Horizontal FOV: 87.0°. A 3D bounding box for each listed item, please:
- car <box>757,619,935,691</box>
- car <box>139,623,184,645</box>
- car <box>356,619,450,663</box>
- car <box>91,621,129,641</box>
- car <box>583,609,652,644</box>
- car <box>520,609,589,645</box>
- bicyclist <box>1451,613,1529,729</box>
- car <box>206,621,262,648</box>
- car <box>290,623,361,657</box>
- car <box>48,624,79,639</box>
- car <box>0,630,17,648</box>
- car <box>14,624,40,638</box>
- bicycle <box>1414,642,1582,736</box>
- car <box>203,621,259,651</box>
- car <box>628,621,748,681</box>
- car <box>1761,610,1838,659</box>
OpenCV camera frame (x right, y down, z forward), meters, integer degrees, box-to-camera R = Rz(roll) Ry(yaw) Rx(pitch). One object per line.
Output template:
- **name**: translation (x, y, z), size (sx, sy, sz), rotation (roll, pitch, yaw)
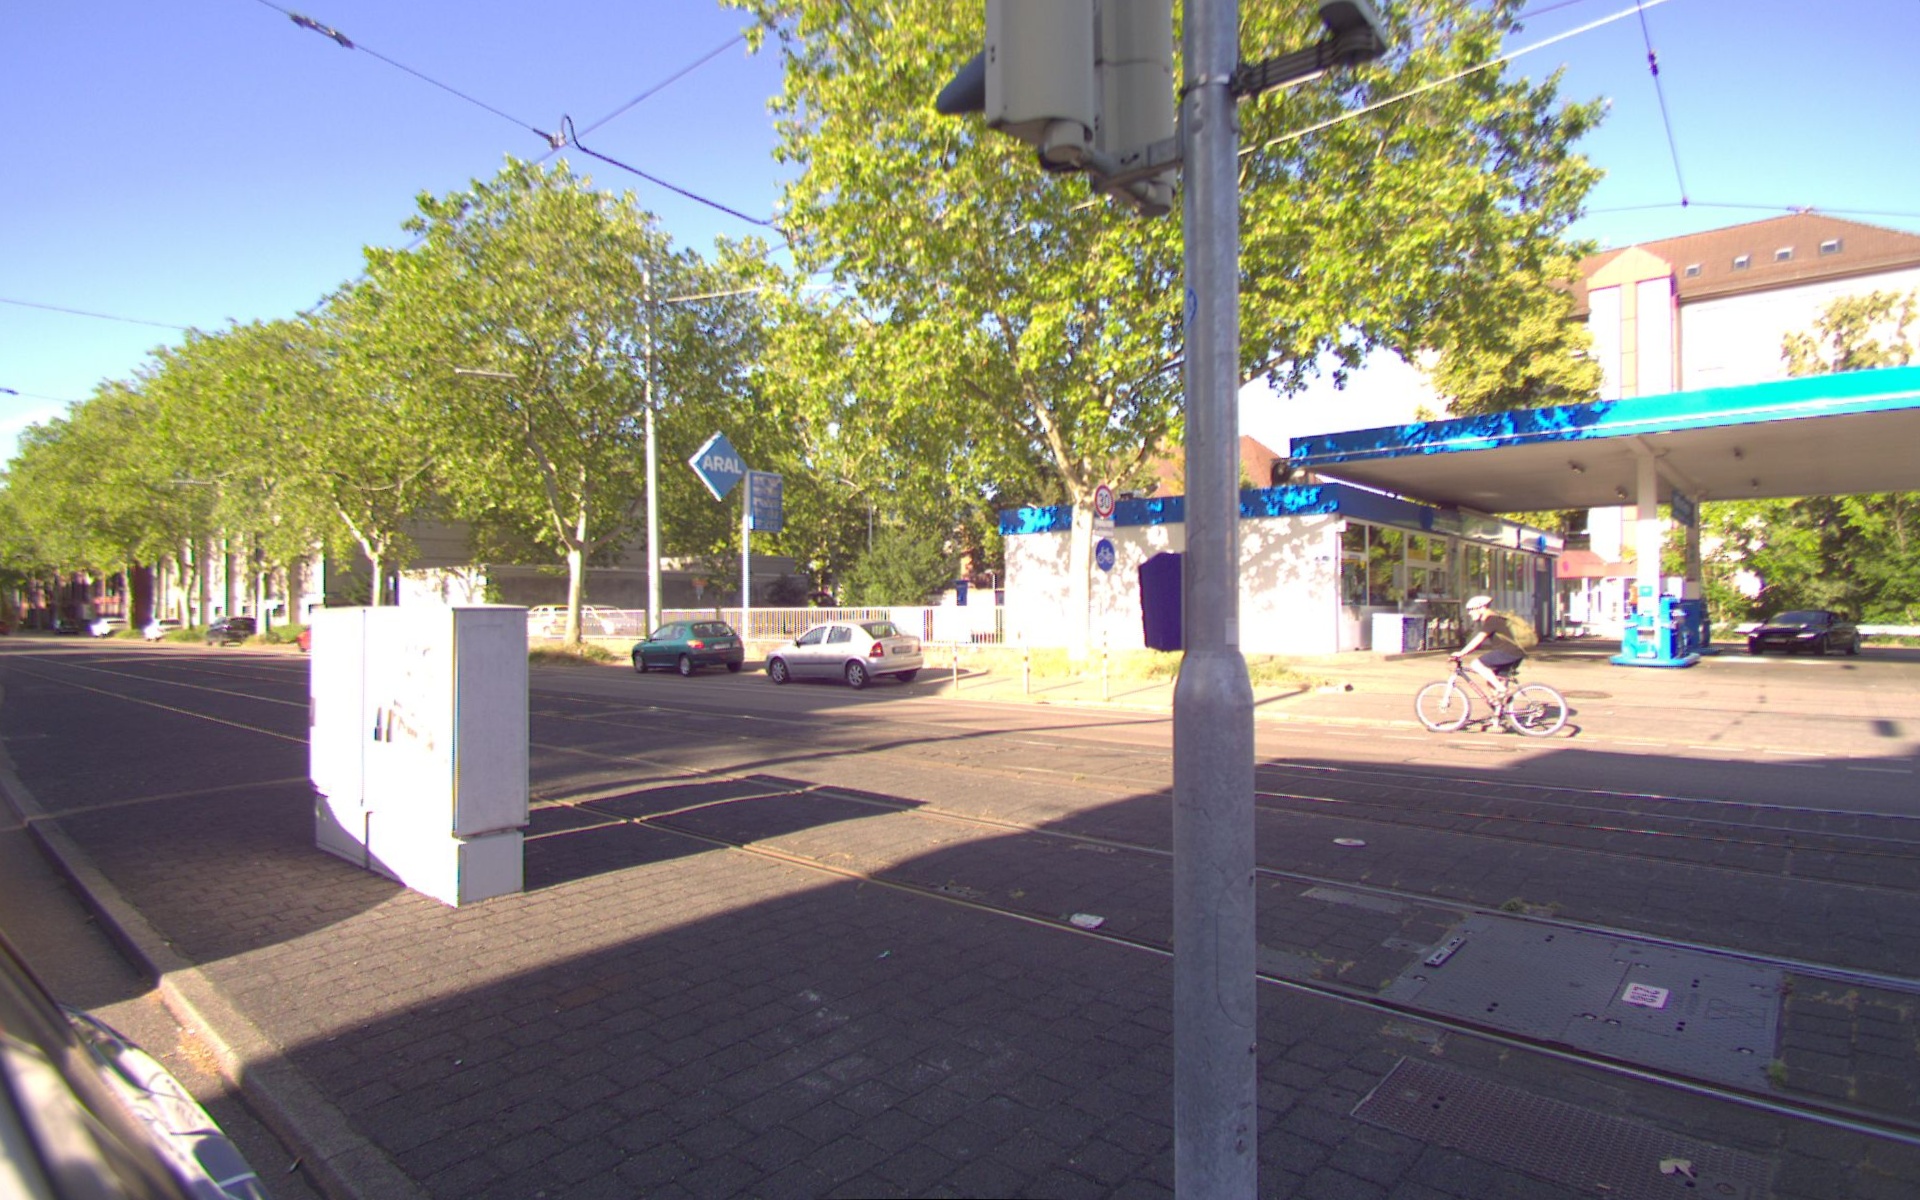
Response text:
- **car**: translation (-2.615, 1.168, 22.682), size (3.998, 1.431, 1.709), rotation (-1, 0, 41)
- **car**: translation (-53.805, 2.298, 68.207), size (3.998, 1.420, 1.678), rotation (-1, -2, 41)
- **car**: translation (-22.248, 1.578, 40.368), size (4.431, 1.534, 1.731), rotation (-1, 3, 40)
- **car**: translation (-66.806, 2.423, 79.555), size (3.998, 1.569, 1.678), rotation (-1, -2, 41)
- **car**: translation (-14.746, 1.100, 43.521), size (3.151, 1.431, 1.525), rotation (-1, 0, 44)
- **car**: translation (-16.839, 1.100, 41.989), size (3.151, 1.431, 1.525), rotation (-1, 0, 44)
- **bicyclist**: translation (6.557, 0.862, 12.556), size (0.798, 1.376, 0.556), rotation (-1, 0, 24)
- **car**: translation (-40.596, 1.895, 56.582), size (3.998, 1.420, 1.678), rotation (-1, -2, 41)
- **car**: translation (-29.075, 1.798, 46.325), size (3.998, 1.480, 1.678), rotation (0, -1, 41)
- **car**: translation (-85.176, 2.984, 96.172), size (3.998, 1.420, 1.678), rotation (-1, -2, 41)
- **car**: translation (-88.980, 3.600, 93.678), size (4.761, 1.534, 1.887), rotation (-1, -2, 40)
- **car**: translation (-103.222, 3.402, 111.982), size (3.998, 1.420, 1.678), rotation (-1, -2, 41)
- **bicycle**: translation (6.615, 1.075, 12.549), size (1.784, 1.078, 0.570), rotation (-1, 0, 24)
- **car**: translation (-40.731, 1.987, 56.541), size (3.998, 1.587, 1.678), rotation (-1, -2, 41)
- **car**: translation (-7.239, 1.304, 26.819), size (3.253, 1.431, 1.526), rotation (-1, 0, 41)
- **car**: translation (24.964, 0.983, 30.077), size (1.665, 1.309, 3.433), rotation (-1, 0, 41)
